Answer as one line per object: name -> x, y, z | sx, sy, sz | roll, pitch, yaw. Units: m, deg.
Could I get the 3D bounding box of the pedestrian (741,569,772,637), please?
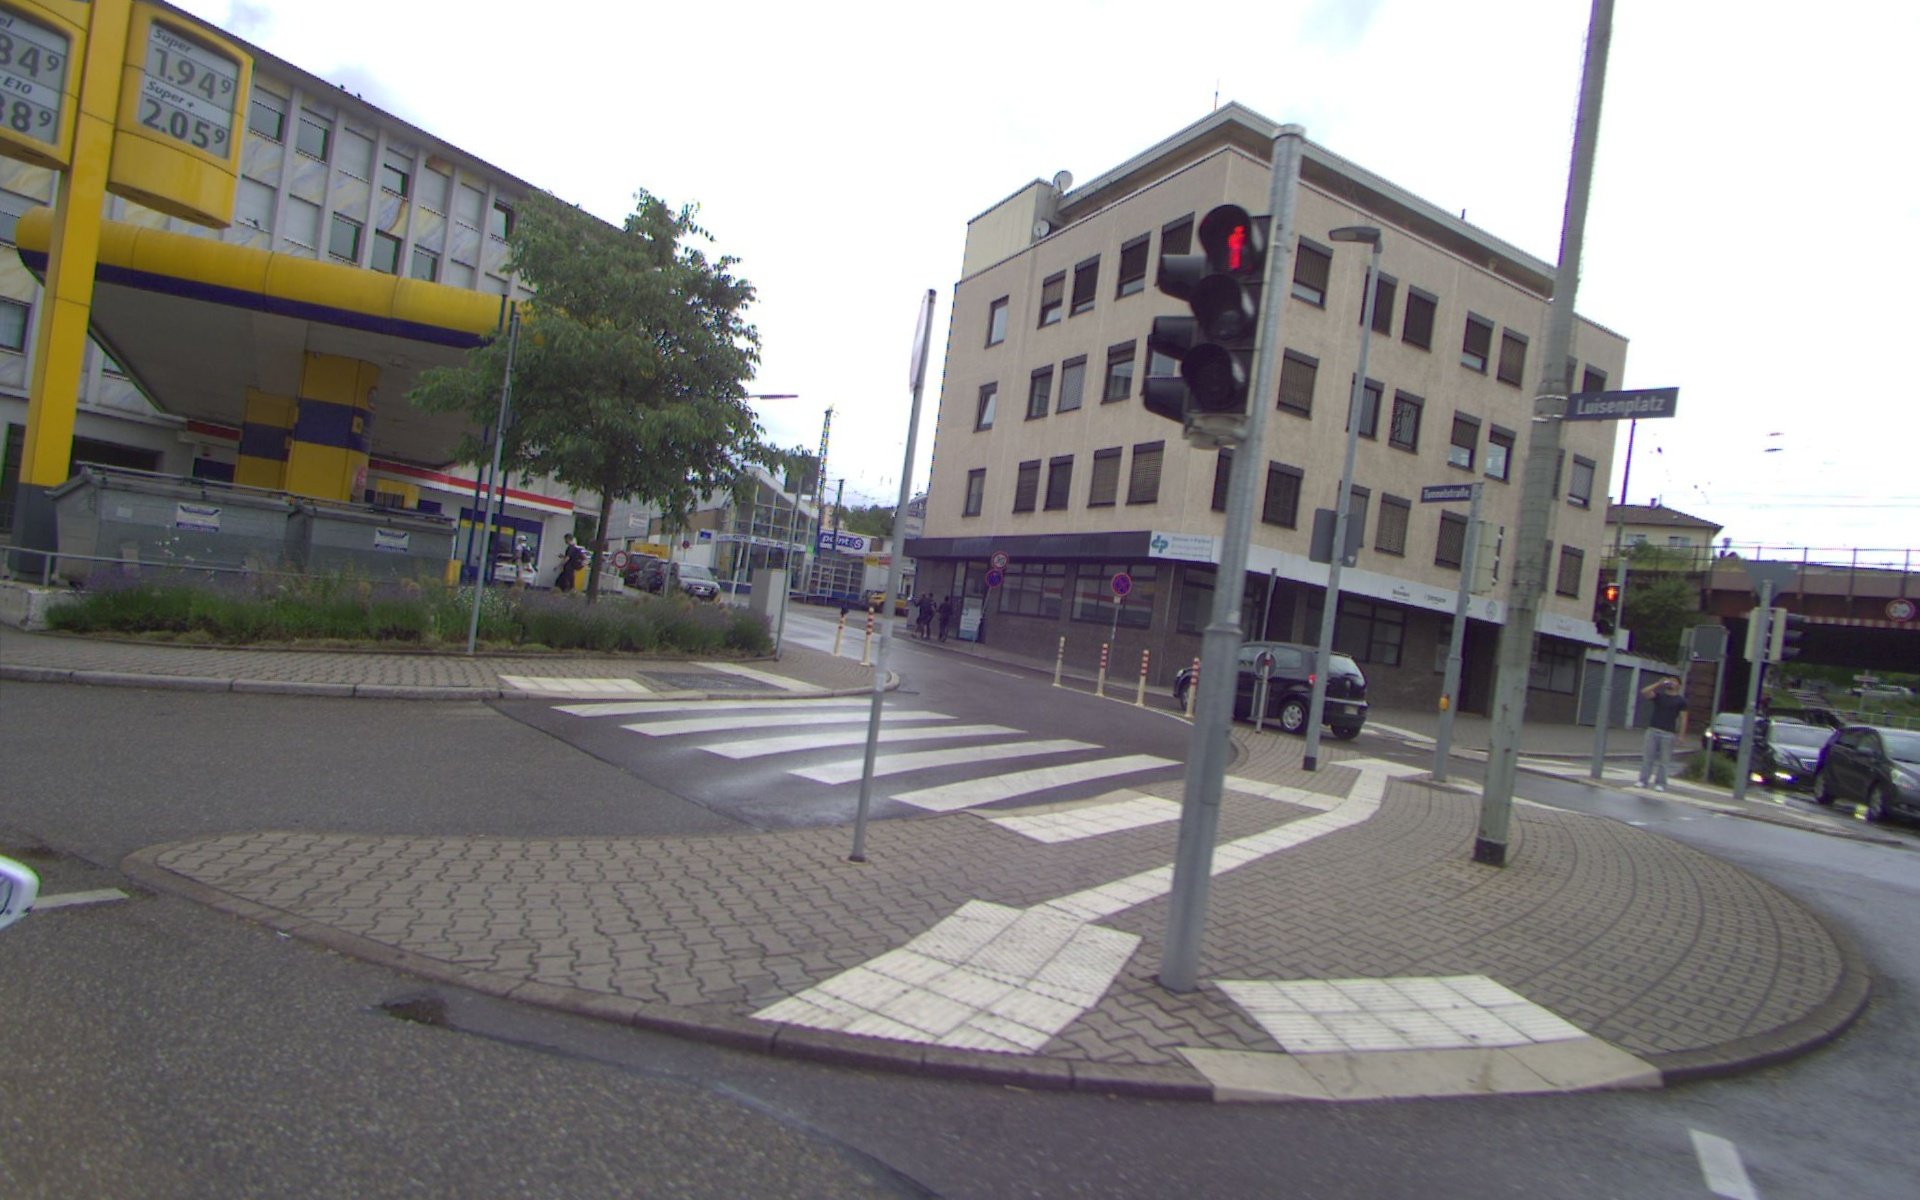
pedestrian -> -4.809, 0.089, 23.801 | 0.472, 1.531, 0.574 | 8, -2, -8

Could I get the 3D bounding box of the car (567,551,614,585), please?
car -> -24.469, -2.086, 66.541 | 1.979, 1.885, 4.549 | 10, -4, -29

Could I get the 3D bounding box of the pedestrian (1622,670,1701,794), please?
pedestrian -> 11.084, 2.084, 15.928 | 0.761, 1.811, 0.859 | 7, -3, 28

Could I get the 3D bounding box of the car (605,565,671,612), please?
car -> -15.562, -0.539, 48.465 | 1.979, 1.885, 4.549 | 10, -4, -29

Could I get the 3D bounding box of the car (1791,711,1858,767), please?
car -> 39.448, 6.356, 45.876 | 1.975, 2.035, 3.982 | 5, -4, 45

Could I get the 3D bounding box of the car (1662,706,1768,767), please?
car -> 24.512, 4.376, 32.814 | 1.966, 1.462, 4.478 | 7, 0, 28

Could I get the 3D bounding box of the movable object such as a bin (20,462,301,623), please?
movable object such as a bin -> -9.820, -0.677, 12.432 | 1.744, 1.593, 2.159 | 6, -1, 33

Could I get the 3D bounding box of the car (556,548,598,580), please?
car -> -27.366, -2.536, 71.743 | 1.979, 1.885, 4.549 | 10, -4, -29

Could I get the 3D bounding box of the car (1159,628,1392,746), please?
car -> 5.683, 1.541, 18.525 | 1.665, 1.509, 3.711 | 11, -3, -34

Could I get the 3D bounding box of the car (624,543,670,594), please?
car -> -25.997, -2.556, 83.403 | 2.358, 3.727, 4.962 | 9, -3, -28

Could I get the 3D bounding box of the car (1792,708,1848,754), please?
car -> 47.844, 7.309, 55.935 | 1.975, 2.035, 3.982 | 5, -4, 45

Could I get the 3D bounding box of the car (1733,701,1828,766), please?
car -> 29.506, 4.818, 36.117 | 4.141, 1.802, 1.977 | 11, -4, -42

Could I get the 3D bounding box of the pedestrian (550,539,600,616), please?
pedestrian -> -13.936, -0.825, 36.392 | 1.003, 2.595, 1.135 | 10, -3, -43

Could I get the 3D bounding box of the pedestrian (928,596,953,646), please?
pedestrian -> -0.702, 0.757, 36.799 | 0.474, 1.761, 0.571 | 9, -3, -28

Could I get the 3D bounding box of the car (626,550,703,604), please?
car -> -12.633, -0.949, 42.794 | 1.979, 1.885, 4.549 | 10, -4, -29

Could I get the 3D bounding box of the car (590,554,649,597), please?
car -> -18.222, -1.287, 53.718 | 1.979, 1.885, 4.549 | 10, -4, -29

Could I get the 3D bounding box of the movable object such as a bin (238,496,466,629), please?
movable object such as a bin -> -8.666, -0.511, 14.420 | 1.744, 1.574, 2.158 | 6, -1, 33

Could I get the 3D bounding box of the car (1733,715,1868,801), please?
car -> 19.709, 3.641, 23.796 | 1.969, 1.462, 4.471 | 7, 0, 36

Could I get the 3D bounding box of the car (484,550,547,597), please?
car -> -18.169, -1.034, 41.288 | 1.972, 1.533, 4.401 | 6, -3, -21

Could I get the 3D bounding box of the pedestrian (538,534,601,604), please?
pedestrian -> -9.755, -0.754, 25.186 | 1.095, 1.540, 0.917 | 8, -3, -9

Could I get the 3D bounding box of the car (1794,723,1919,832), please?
car -> 16.963, 3.194, 17.876 | 1.964, 1.462, 4.483 | 7, 0, 23

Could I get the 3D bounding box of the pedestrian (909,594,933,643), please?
pedestrian -> -1.457, 0.678, 37.305 | 0.474, 1.761, 0.571 | 9, -3, -28

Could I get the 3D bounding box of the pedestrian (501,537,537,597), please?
pedestrian -> -14.071, -1.050, 32.087 | 0.674, 1.777, 0.725 | 9, -3, -35

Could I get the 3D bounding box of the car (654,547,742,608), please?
car -> -10.099, -0.834, 38.487 | 1.979, 1.885, 4.549 | 10, -4, -29

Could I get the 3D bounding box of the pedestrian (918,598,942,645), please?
pedestrian -> -1.138, 0.801, 37.781 | 0.474, 1.665, 0.571 | 9, -3, -28
